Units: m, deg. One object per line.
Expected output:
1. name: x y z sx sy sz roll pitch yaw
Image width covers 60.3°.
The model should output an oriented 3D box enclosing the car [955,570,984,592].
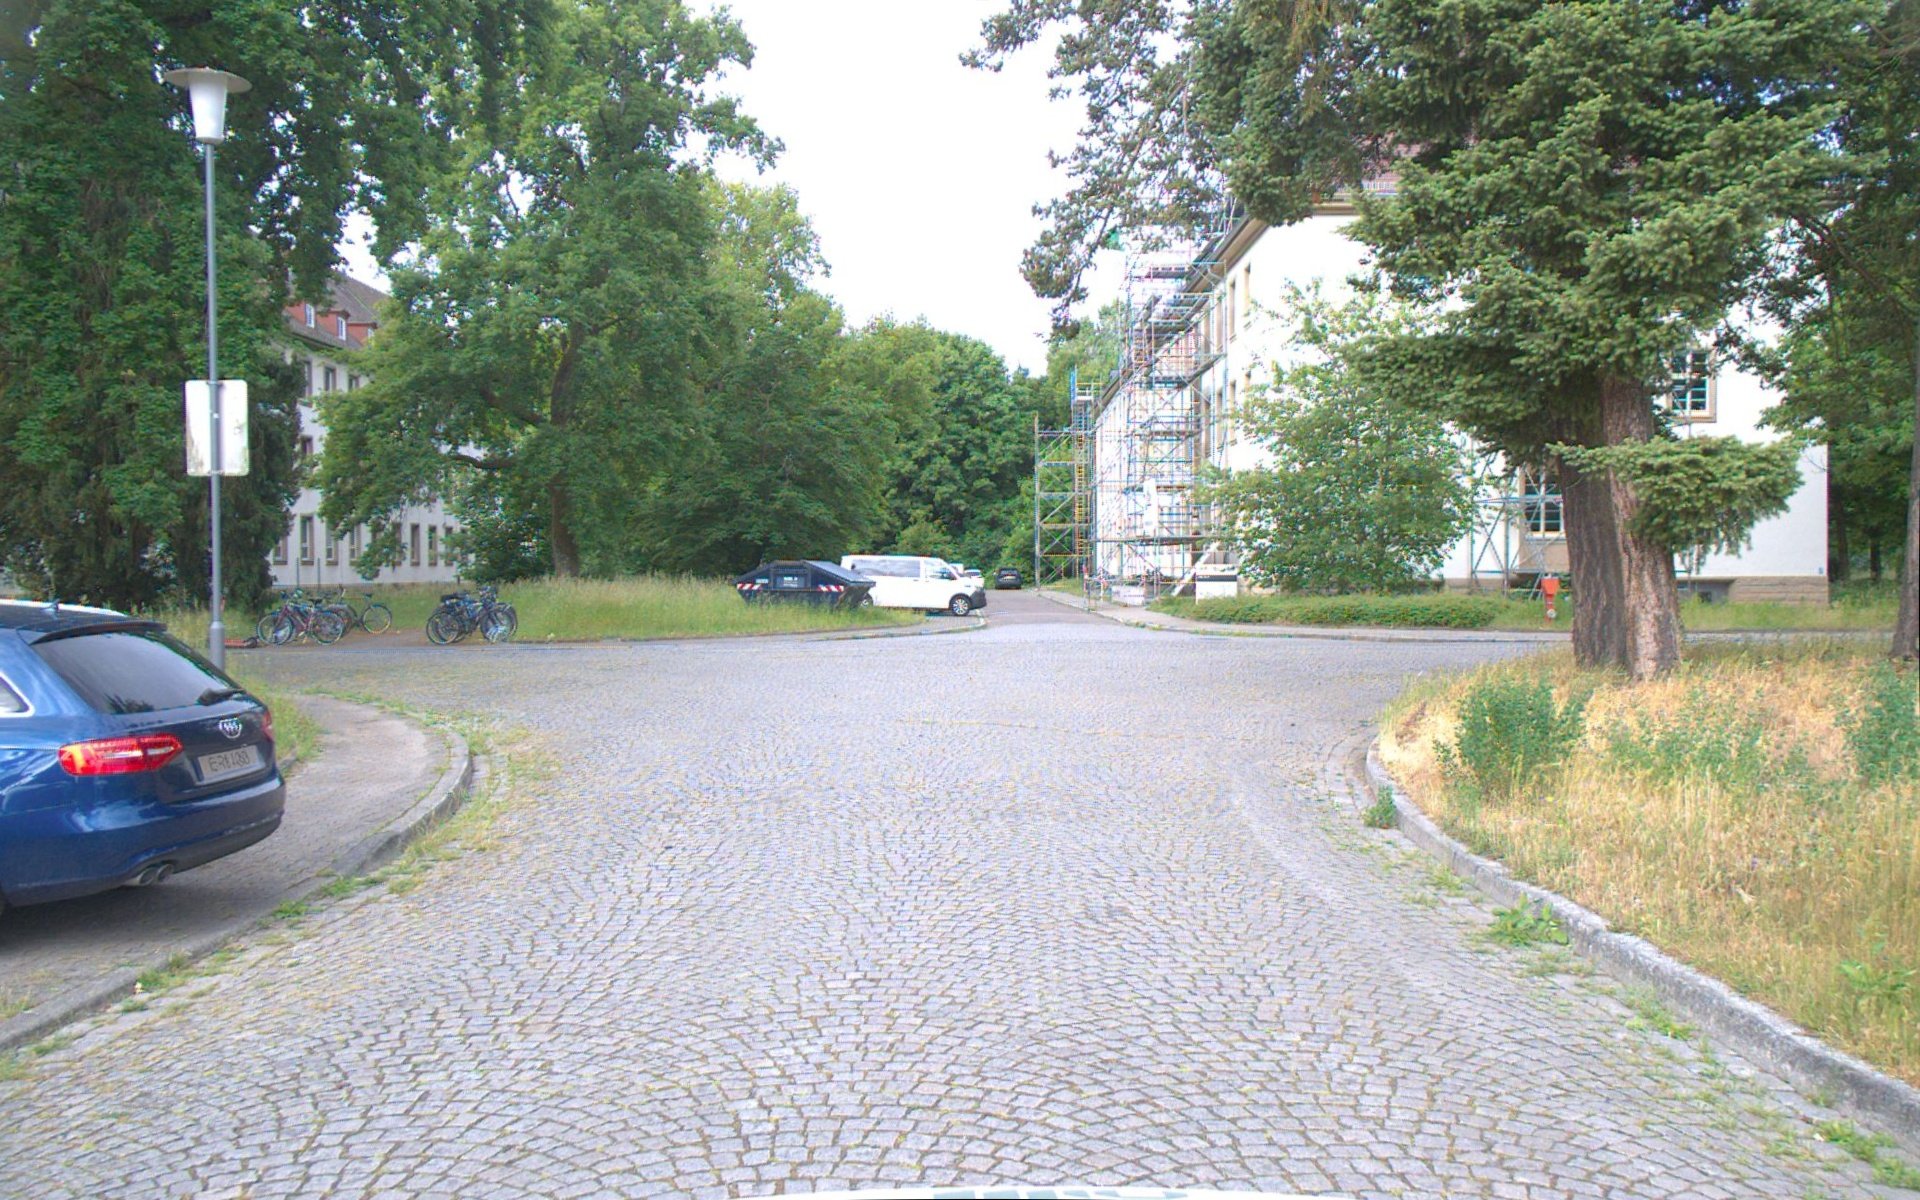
1. car: 0.676 -1.401 122.463 2.076 1.548 3.999 0 1 -1

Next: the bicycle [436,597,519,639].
1. bicycle: -12.133 0.452 41.591 1.931 1.007 0.622 -1 1 -23

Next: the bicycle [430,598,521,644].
1. bicycle: -11.034 0.467 37.659 1.931 1.007 0.622 -1 1 -23

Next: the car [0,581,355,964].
1. car: -5.273 0.664 7.628 4.214 1.486 1.975 1 1 1

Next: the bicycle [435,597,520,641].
1. bicycle: -11.799 0.456 40.467 1.931 1.007 0.622 -1 1 -23

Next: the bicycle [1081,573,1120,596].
1. bicycle: 8.004 -0.879 94.426 2.194 1.276 0.698 0 0 2

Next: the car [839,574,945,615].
1. car: -2.431 -0.215 59.051 3.713 1.419 1.999 0 1 -3

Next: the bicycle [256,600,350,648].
1. bicycle: -14.609 0.523 36.806 1.931 1.007 0.622 -1 1 -23

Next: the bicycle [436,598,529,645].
1. bicycle: -10.586 0.468 36.689 1.931 1.007 0.622 -1 1 -23

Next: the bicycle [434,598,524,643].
1. bicycle: -11.131 0.464 38.285 1.931 1.007 0.622 -1 1 -23

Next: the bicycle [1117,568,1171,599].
1. bicycle: 7.724 -0.685 69.458 2.194 1.276 0.778 0 0 2

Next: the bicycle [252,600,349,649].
1. bicycle: -14.482 0.525 36.317 1.934 1.007 0.621 -1 1 -27

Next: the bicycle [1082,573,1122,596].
1. bicycle: 7.989 -0.869 93.178 2.194 1.276 0.627 0 0 2

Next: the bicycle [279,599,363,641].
1. bicycle: -16.327 0.503 42.291 1.926 1.007 0.624 -1 1 -17

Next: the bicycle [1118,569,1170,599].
1. bicycle: 7.930 -0.702 71.371 2.194 1.276 0.778 0 0 2

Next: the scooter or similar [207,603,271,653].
1. scooter or similar: -15.471 0.587 35.469 1.321 1.056 0.453 0 0 21

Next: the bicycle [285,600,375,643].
1. bicycle: -15.166 0.508 39.860 1.922 1.007 0.625 -1 1 -11

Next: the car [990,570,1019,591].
1. car: 3.299 -1.440 122.770 1.911 1.548 3.999 0 1 -1

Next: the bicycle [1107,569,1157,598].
1. bicycle: 7.668 -0.716 73.715 2.194 1.276 0.778 0 0 2

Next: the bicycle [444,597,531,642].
1. bicycle: -11.185 0.458 39.161 1.931 1.007 0.622 -1 1 -23

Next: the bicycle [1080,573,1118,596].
1. bicycle: 8.010 -0.886 95.271 2.194 1.276 0.634 0 0 2

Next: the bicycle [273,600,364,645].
1. bicycle: -14.938 0.515 38.513 1.934 1.007 0.621 -1 1 -27

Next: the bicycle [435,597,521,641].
1. bicycle: -11.624 0.458 39.885 1.931 1.007 0.622 -1 1 -23

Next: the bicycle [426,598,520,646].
1. bicycle: -10.611 0.474 36.065 1.929 1.007 0.623 -1 1 -21

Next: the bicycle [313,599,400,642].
1. bicycle: -14.889 0.495 40.870 1.922 1.007 0.625 -1 1 -11

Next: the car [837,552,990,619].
1. car: -1.587 -0.497 56.458 5.129 2.206 1.999 0 1 -3
